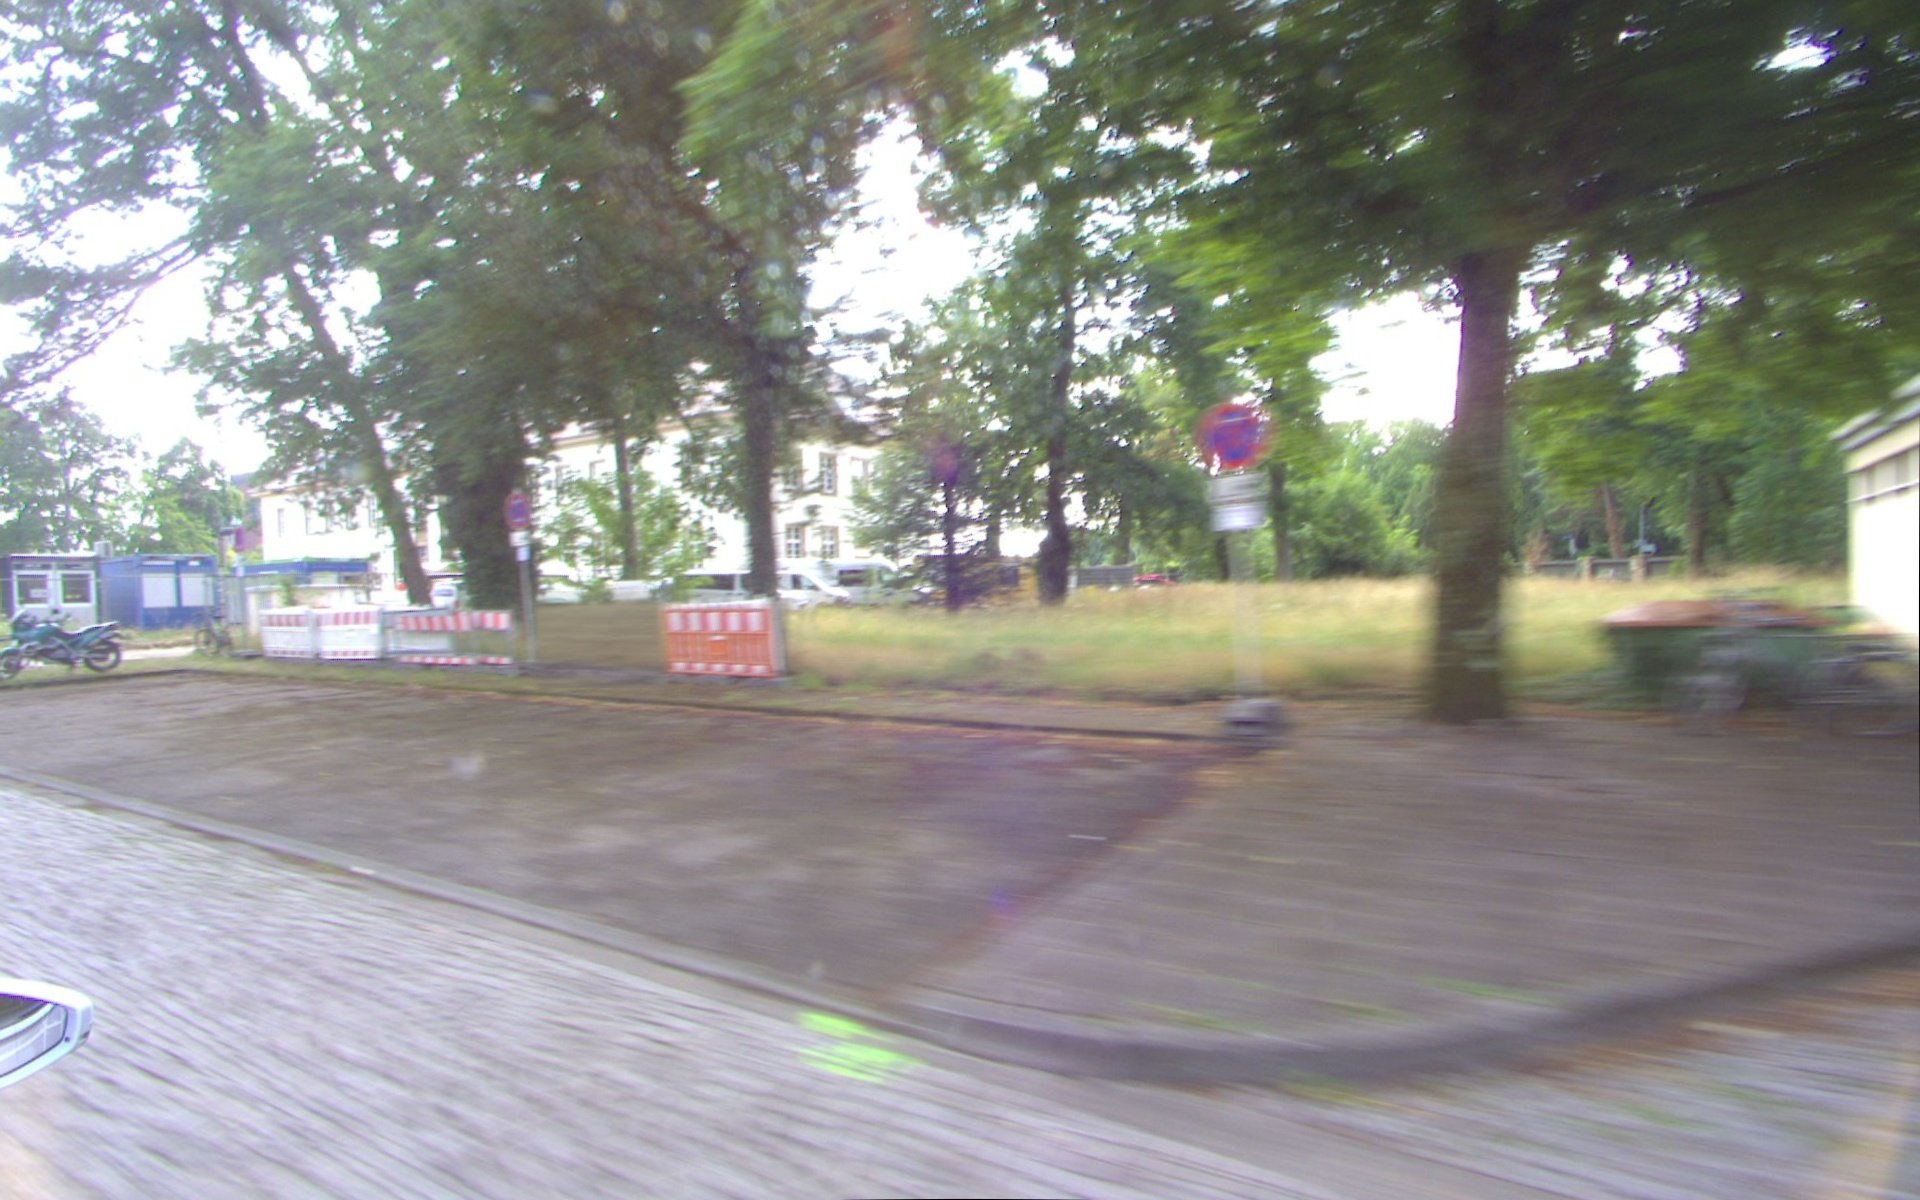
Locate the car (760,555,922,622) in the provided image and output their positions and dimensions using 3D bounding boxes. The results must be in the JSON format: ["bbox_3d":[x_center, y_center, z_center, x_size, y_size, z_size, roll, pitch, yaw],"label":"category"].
[{"bbox_3d":[-4.805,-0.450,41.049,6.297,2.612,2.000,-1,0,3],"label":"car"}]

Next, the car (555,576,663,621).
[{"bbox_3d":[-15.210,-0.022,43.262,4.809,1.849,1.988,-1,0,35],"label":"car"}]

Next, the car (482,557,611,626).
[{"bbox_3d":[-16.642,-0.254,40.165,5.831,2.589,1.988,-1,0,35],"label":"car"}]

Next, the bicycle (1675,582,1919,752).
[{"bbox_3d":[6.211,0.452,7.264,1.611,1.132,0.595,0,3,32],"label":"bicycle"}]

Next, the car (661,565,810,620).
[{"bbox_3d":[-7.993,-0.236,35.900,4.780,1.849,2.000,-1,0,6],"label":"car"}]

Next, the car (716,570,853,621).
[{"bbox_3d":[-6.681,-0.151,38.356,4.780,1.849,2.000,-1,0,6],"label":"car"}]

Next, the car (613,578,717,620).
[{"bbox_3d":[-13.554,-0.009,45.903,4.809,1.849,1.988,-1,0,35],"label":"car"}]

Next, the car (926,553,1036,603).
[{"bbox_3d":[1.089,-0.940,46.598,2.182,2.123,6.126,-1,-1,34],"label":"car"}]

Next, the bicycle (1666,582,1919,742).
[{"bbox_3d":[6.523,0.450,7.810,1.611,1.132,0.595,0,3,32],"label":"bicycle"}]

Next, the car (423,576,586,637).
[{"bbox_3d":[-15.514,0.138,34.375,1.880,1.947,4.845,1,2,34],"label":"car"}]

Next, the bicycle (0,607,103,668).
[{"bbox_3d":[-19.536,0.782,21.317,1.881,1.214,0.651,-2,2,-38],"label":"bicycle"}]

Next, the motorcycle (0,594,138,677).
[{"bbox_3d":[-17.765,0.658,19.722,0.745,1.505,2.273,0,2,28],"label":"motorcycle"}]

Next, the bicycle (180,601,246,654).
[{"bbox_3d":[-17.346,0.625,23.254,1.879,1.185,0.640,0,2,35],"label":"bicycle"}]
